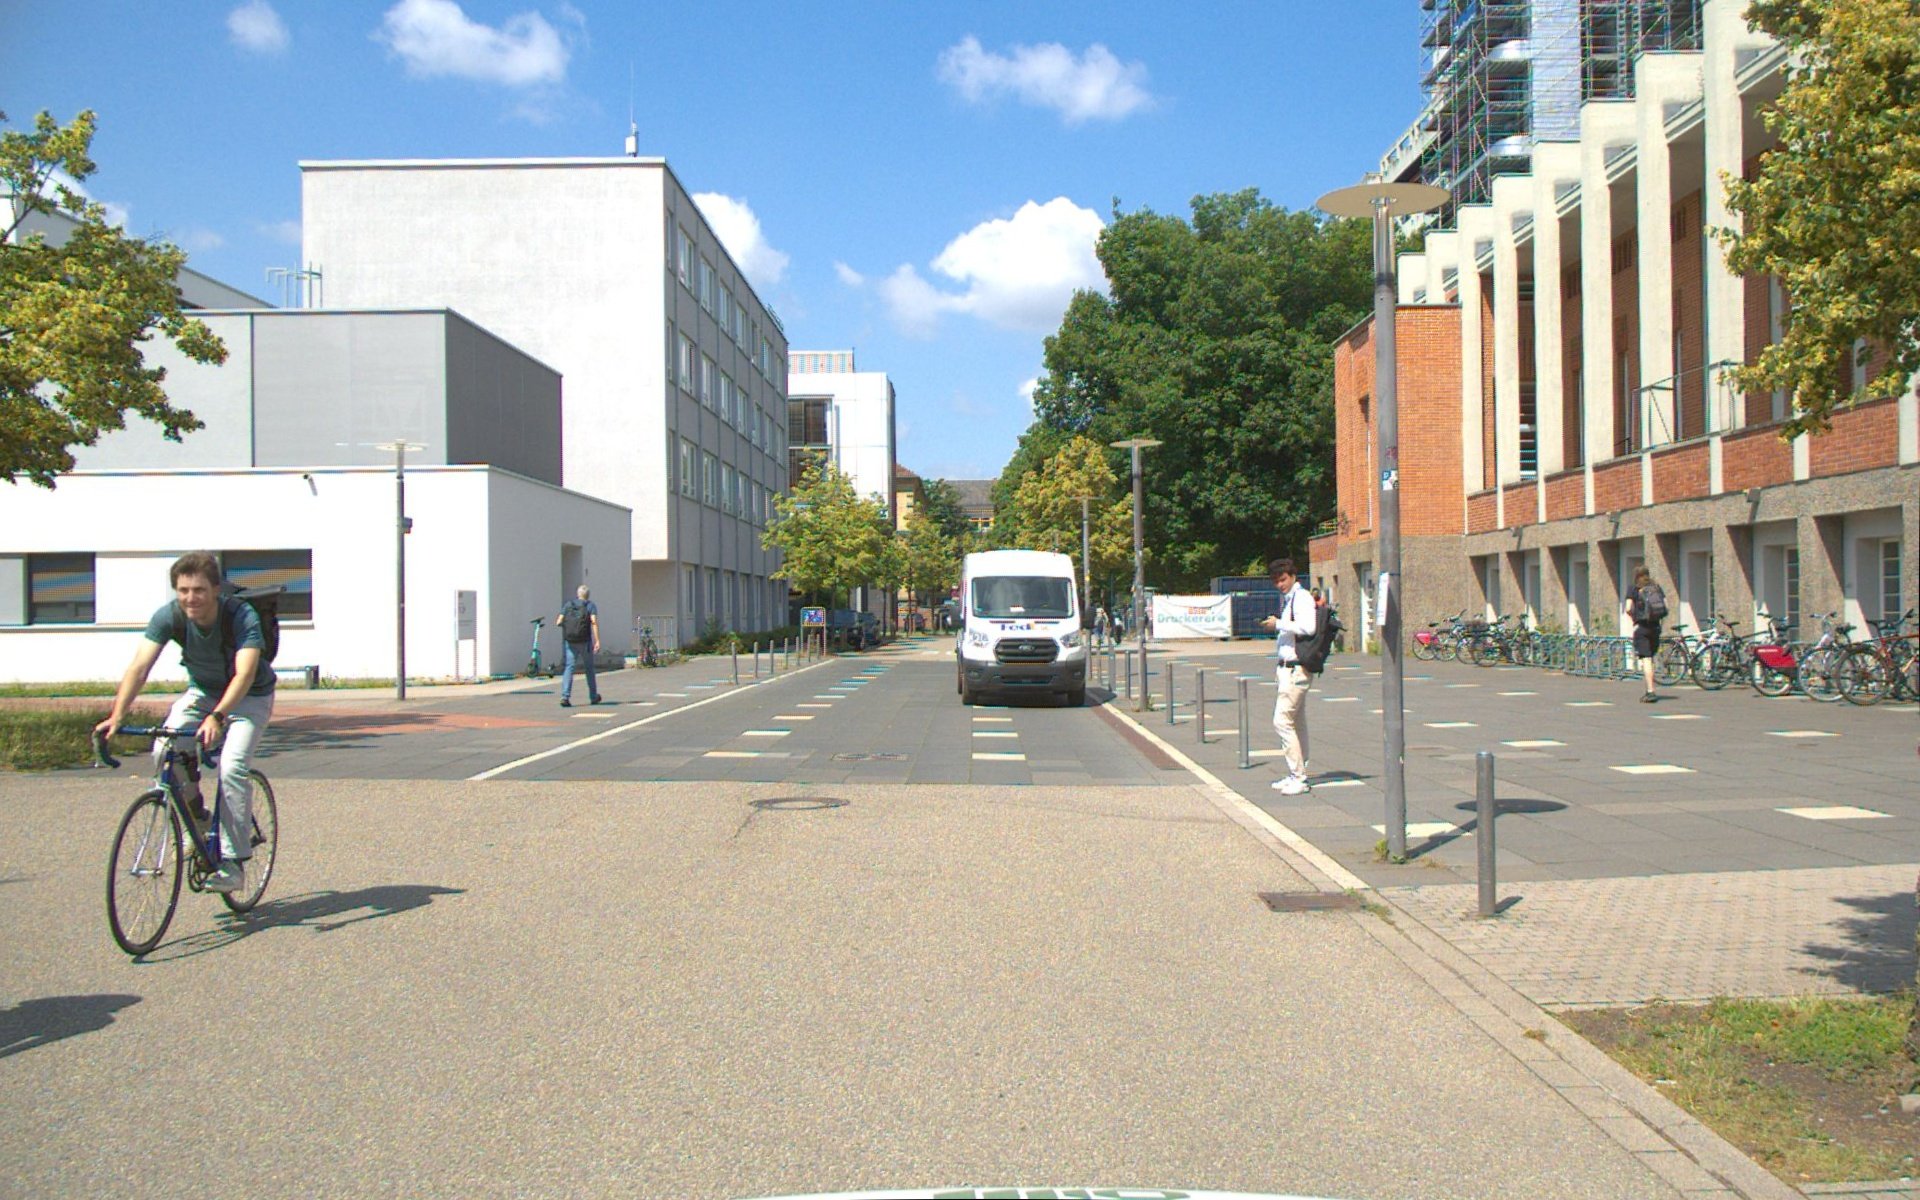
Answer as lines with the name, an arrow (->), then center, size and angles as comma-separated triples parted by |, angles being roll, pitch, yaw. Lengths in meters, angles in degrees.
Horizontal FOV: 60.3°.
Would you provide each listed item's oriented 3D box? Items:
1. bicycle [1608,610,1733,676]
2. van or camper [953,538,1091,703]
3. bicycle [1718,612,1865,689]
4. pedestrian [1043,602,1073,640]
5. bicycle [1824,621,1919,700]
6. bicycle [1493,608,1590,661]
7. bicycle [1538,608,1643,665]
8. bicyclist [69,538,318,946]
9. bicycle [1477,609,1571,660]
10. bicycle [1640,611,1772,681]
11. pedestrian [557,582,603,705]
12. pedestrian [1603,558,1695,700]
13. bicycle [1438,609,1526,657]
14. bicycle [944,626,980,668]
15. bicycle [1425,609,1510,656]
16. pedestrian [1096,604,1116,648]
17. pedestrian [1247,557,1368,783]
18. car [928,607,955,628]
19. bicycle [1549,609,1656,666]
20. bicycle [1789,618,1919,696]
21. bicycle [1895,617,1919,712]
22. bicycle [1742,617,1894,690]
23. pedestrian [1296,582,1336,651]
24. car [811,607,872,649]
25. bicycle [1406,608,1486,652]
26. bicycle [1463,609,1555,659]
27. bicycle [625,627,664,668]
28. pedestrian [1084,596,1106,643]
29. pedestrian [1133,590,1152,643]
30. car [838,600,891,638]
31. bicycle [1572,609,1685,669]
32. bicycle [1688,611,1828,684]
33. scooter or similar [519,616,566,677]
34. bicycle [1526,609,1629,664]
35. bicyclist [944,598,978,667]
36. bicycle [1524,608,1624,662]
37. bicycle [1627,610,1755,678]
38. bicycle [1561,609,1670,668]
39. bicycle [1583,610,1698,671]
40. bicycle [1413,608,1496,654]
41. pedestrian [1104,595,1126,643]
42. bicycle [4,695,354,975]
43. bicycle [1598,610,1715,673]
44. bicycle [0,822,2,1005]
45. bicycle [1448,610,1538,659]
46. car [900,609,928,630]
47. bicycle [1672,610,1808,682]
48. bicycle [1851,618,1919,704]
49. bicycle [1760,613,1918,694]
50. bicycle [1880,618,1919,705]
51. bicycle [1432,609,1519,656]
bicycle -> 11.654, 0.695, 27.149 | 1.772, 1.002, 0.560 | -2, -1, 0
van or camper -> 0.939, 0.346, 27.488 | 1.953, 2.488, 4.567 | 0, -1, -2
bicycle -> 11.790, 0.714, 23.476 | 1.772, 1.002, 0.560 | -2, -1, 0
pedestrian -> 5.535, 1.158, 93.334 | 1.469, 2.031, 1.646 | -4, 0, -1
bicycle -> 11.786, 0.735, 20.556 | 1.772, 0.928, 0.560 | -2, -1, 0
bicycle -> 12.062, 0.710, 34.341 | 1.772, 1.002, 0.560 | -2, -1, 0
bicycle -> 12.089, 0.699, 31.753 | 1.772, 1.002, 0.560 | -2, -1, 0
bicyclist -> -3.435, 0.592, 7.495 | 0.654, 1.711, 0.992 | 2, 1, -3
bicycle -> 11.918, 0.718, 34.973 | 1.772, 1.002, 0.560 | -2, -1, 0
bicycle -> 11.681, 0.714, 25.926 | 1.772, 1.002, 0.560 | -2, -1, 0
pedestrian -> -5.754, 0.654, 25.069 | 0.655, 1.817, 0.982 | 0, -2, -12
pedestrian -> 9.437, 0.391, 22.694 | 0.773, 1.892, 1.116 | -1, -1, 2
bicycle -> 11.726, 0.736, 37.180 | 1.772, 1.002, 0.560 | -2, -1, 0
bicycle -> 0.053, 1.198, 41.520 | 0.691, 1.011, 1.911 | -2, -3, 6
bicycle -> 11.779, 0.747, 38.398 | 1.772, 1.002, 0.560 | -2, -1, 0
pedestrian -> 6.321, 1.123, 71.521 | 0.773, 1.892, 1.026 | -1, -1, 2
pedestrian -> 2.801, 0.555, 13.421 | 0.688, 1.724, 0.962 | -4, -1, 1
car -> -1.439, 1.366, 130.090 | 1.757, 1.557, 4.002 | -1, 0, 4
bicycle -> 12.099, 0.704, 31.156 | 1.772, 1.002, 0.560 | -2, -1, 0
bicycle -> 11.775, 0.735, 21.411 | 1.772, 0.928, 0.560 | -2, -1, 0
bicycle -> 11.492, 0.708, 18.689 | 1.503, 1.051, 0.560 | -2, -1, 0
bicycle -> 11.819, 0.734, 22.816 | 1.772, 0.928, 0.560 | -2, -1, 0
pedestrian -> 9.928, 0.467, 46.148 | 0.834, 1.892, 1.116 | -1, -1, -2
car -> -4.572, 1.064, 64.158 | 1.757, 1.557, 4.002 | -1, 0, 4
bicycle -> 11.886, 0.738, 40.480 | 1.772, 1.002, 0.560 | -2, -1, 0
bicycle -> 11.822, 0.730, 35.645 | 1.772, 1.002, 0.560 | -2, -1, 0
bicycle -> -8.026, 1.199, 42.096 | 0.512, 1.002, 1.633 | -2, 0, 5
pedestrian -> 5.486, 0.793, 67.287 | 0.773, 1.892, 1.243 | -1, 0, 2
pedestrian -> 6.558, 0.577, 59.480 | 0.564, 1.892, 0.569 | -1, -1, -2
car -> -4.149, 0.817, 72.381 | 1.757, 1.557, 4.002 | -1, 0, 4
bicycle -> 12.082, 0.707, 29.919 | 1.772, 1.002, 0.560 | -2, -1, 0
bicycle -> 11.851, 0.700, 24.580 | 1.772, 1.002, 0.560 | -2, -1, 0
scooter or similar -> -8.738, 0.967, 34.649 | 0.369, 1.237, 1.206 | -1, 0, 16
bicycle -> 12.085, 0.705, 32.368 | 1.772, 1.002, 0.560 | -2, -1, 0
bicyclist -> 0.021, 0.804, 41.302 | 0.702, 1.691, 1.096 | -1, -1, 6
bicycle -> 12.284, 0.700, 33.107 | 1.772, 1.002, 0.560 | -2, -1, 0
bicycle -> 11.713, 0.697, 26.540 | 1.772, 1.002, 0.560 | -2, -1, 0
bicycle -> 12.101, 0.710, 30.561 | 1.772, 1.002, 0.560 | -2, -1, 0
bicycle -> 12.063, 0.710, 29.332 | 1.772, 1.002, 0.560 | -2, -1, 0
bicycle -> 11.809, 0.737, 39.517 | 1.772, 1.002, 0.560 | -2, -1, 0
pedestrian -> 6.303, 0.768, 67.244 | 0.773, 1.892, 1.026 | -1, -1, 2
bicycle -> -3.423, 0.978, 7.478 | 0.663, 0.982, 2.002 | 1, 0, -2
bicycle -> 12.093, 0.711, 28.730 | 1.772, 1.002, 0.560 | -2, -1, 0
bicycle -> -3.776, 0.973, 4.973 | 0.663, 0.981, 2.002 | -1, 0, -2
bicycle -> 11.741, 0.749, 36.474 | 1.772, 1.002, 0.560 | -2, -1, 0
car -> -3.636, 1.515, 130.247 | 1.757, 1.557, 4.002 | -1, 0, 4
bicycle -> 11.896, 0.697, 25.252 | 1.772, 1.002, 0.560 | -2, -1, 0
bicycle -> 11.782, 0.711, 19.950 | 1.747, 0.995, 0.560 | -2, -1, -1
bicycle -> 11.714, 0.707, 22.059 | 1.772, 1.002, 0.560 | -2, -1, 0
bicycle -> 11.787, 0.688, 19.306 | 1.754, 0.986, 0.560 | -2, -1, 0
bicycle -> 11.751, 0.740, 37.744 | 1.772, 1.002, 0.560 | -2, -1, 0
